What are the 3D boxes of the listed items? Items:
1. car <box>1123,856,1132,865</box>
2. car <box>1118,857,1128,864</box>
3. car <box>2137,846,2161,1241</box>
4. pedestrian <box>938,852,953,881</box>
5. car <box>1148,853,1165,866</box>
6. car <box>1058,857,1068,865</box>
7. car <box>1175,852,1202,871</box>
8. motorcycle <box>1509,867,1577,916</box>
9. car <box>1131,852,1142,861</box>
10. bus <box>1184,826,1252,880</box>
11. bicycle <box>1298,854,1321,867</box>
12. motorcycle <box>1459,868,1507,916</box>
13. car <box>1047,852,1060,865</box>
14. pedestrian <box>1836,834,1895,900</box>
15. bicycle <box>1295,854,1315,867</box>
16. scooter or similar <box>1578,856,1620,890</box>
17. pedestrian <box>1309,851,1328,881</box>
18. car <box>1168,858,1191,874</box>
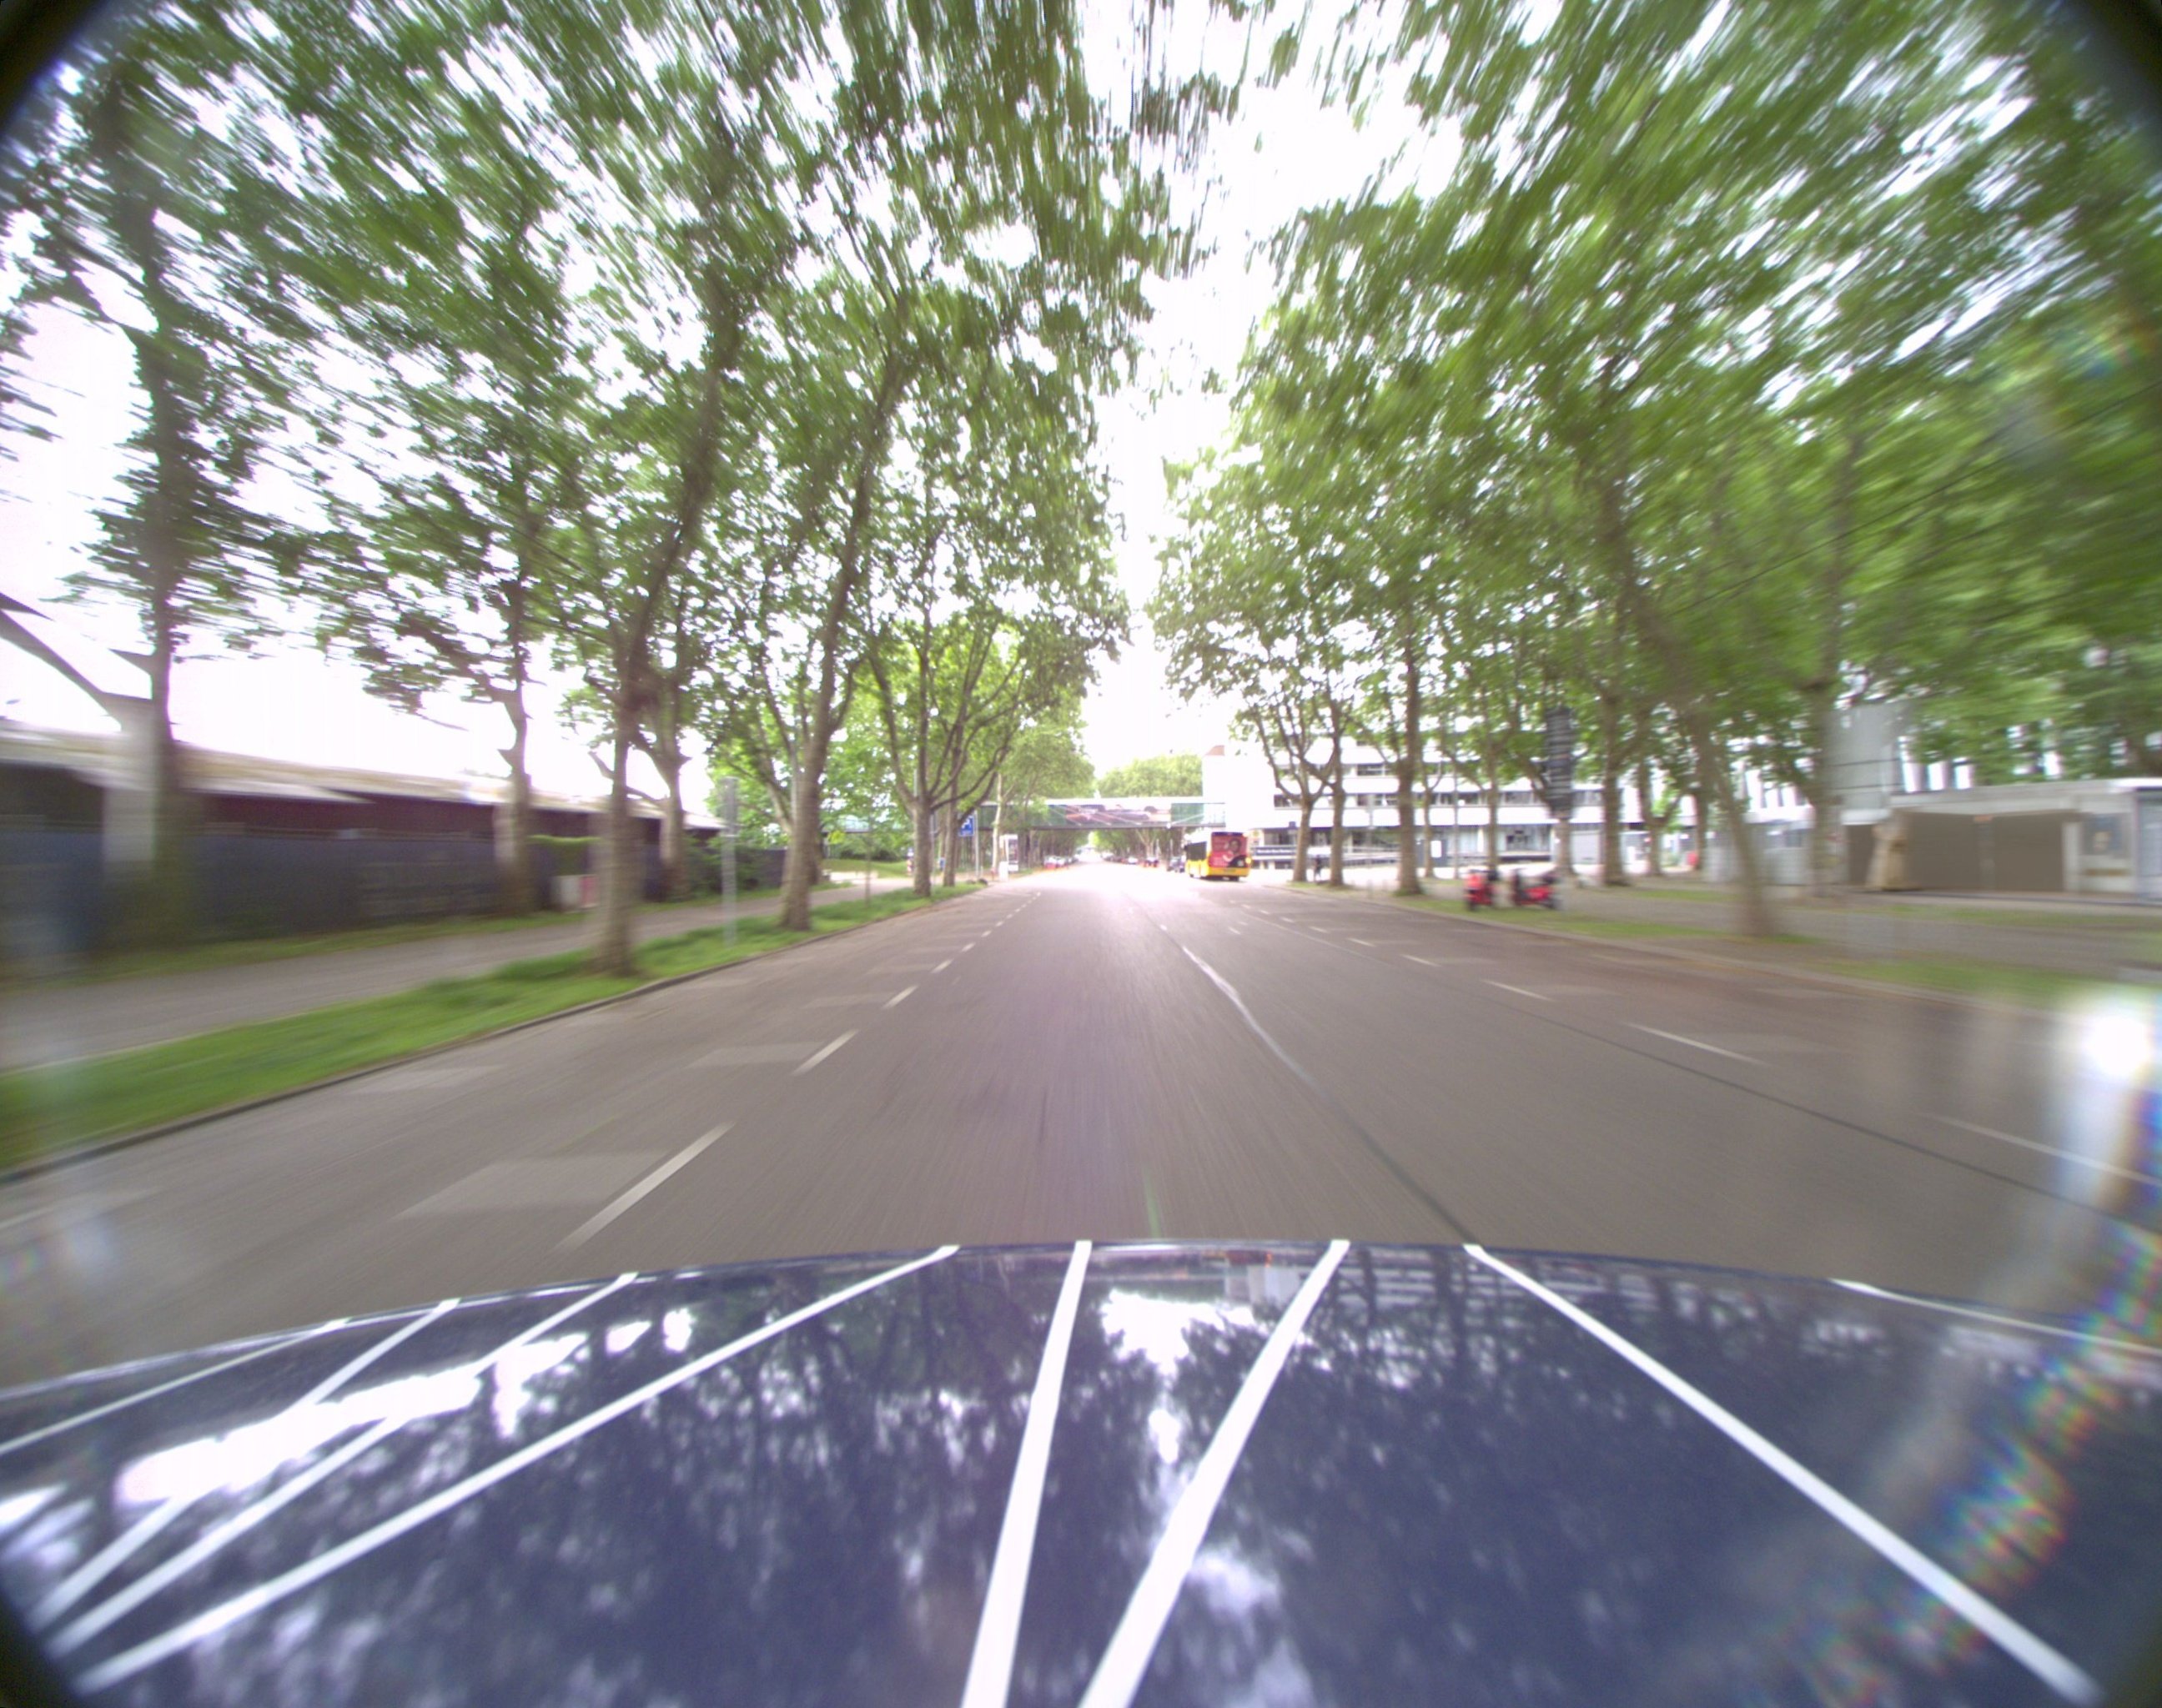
[{"bbox_3d":[9.815,1.334,159.680,1.757,1.652,4.000,-2,0,3],"label":"car"},{"bbox_3d":[9.742,1.591,177.772,1.921,1.561,4.497,-1,0,-1],"label":"car"},{"bbox_3d":[6.615,0.742,2.176,4.527,1.608,1.758,-1,0,3],"label":"car"},{"bbox_3d":[-9.594,0.870,53.957,0.710,2.002,0.882,-2,1,10],"label":"pedestrian"},{"bbox_3d":[10.507,0.708,106.016,1.929,1.720,4.233,3,0,0],"label":"car"},{"bbox_3d":[-3.328,1.277,141.868,1.921,1.561,4.497,-1,0,-1],"label":"car"},{"bbox_3d":[9.690,0.683,68.760,1.758,1.557,4.386,3,0,-1],"label":"car"},{"bbox_3d":[12.094,0.957,19.975,0.574,1.151,2.077,-2,0,3],"label":"motorcycle"},{"bbox_3d":[9.990,0.447,136.657,1.757,1.652,4.000,-2,0,1],"label":"car"},{"bbox_3d":[8.978,-0.093,51.223,2.658,3.136,12.369,2,0,2],"label":"bus"},{"bbox_3d":[21.649,0.602,72.045,1.918,1.180,0.569,-2,1,-2],"label":"bicycle"},{"bbox_3d":[11.049,1.016,20.847,0.573,1.151,2.081,-1,1,44],"label":"motorcycle"},{"bbox_3d":[-3.698,0.576,102.941,1.757,1.687,4.497,-1,0,-1],"label":"car"},{"bbox_3d":[21.537,0.340,20.876,0.706,1.743,0.874,-2,1,0],"label":"pedestrian"},{"bbox_3d":[21.579,0.598,73.211,1.830,1.180,0.470,-2,1,-2],"label":"bicycle"},{"bbox_3d":[18.863,0.696,27.677,1.185,1.166,0.445,-2,1,6],"label":"scooter or similar"},{"bbox_3d":[12.959,0.648,41.461,0.663,1.580,0.912,-2,1,0],"label":"pedestrian"},{"bbox_3d":[9.984,1.226,77.382,1.758,1.505,4.009,3,0,0],"label":"car"}]
